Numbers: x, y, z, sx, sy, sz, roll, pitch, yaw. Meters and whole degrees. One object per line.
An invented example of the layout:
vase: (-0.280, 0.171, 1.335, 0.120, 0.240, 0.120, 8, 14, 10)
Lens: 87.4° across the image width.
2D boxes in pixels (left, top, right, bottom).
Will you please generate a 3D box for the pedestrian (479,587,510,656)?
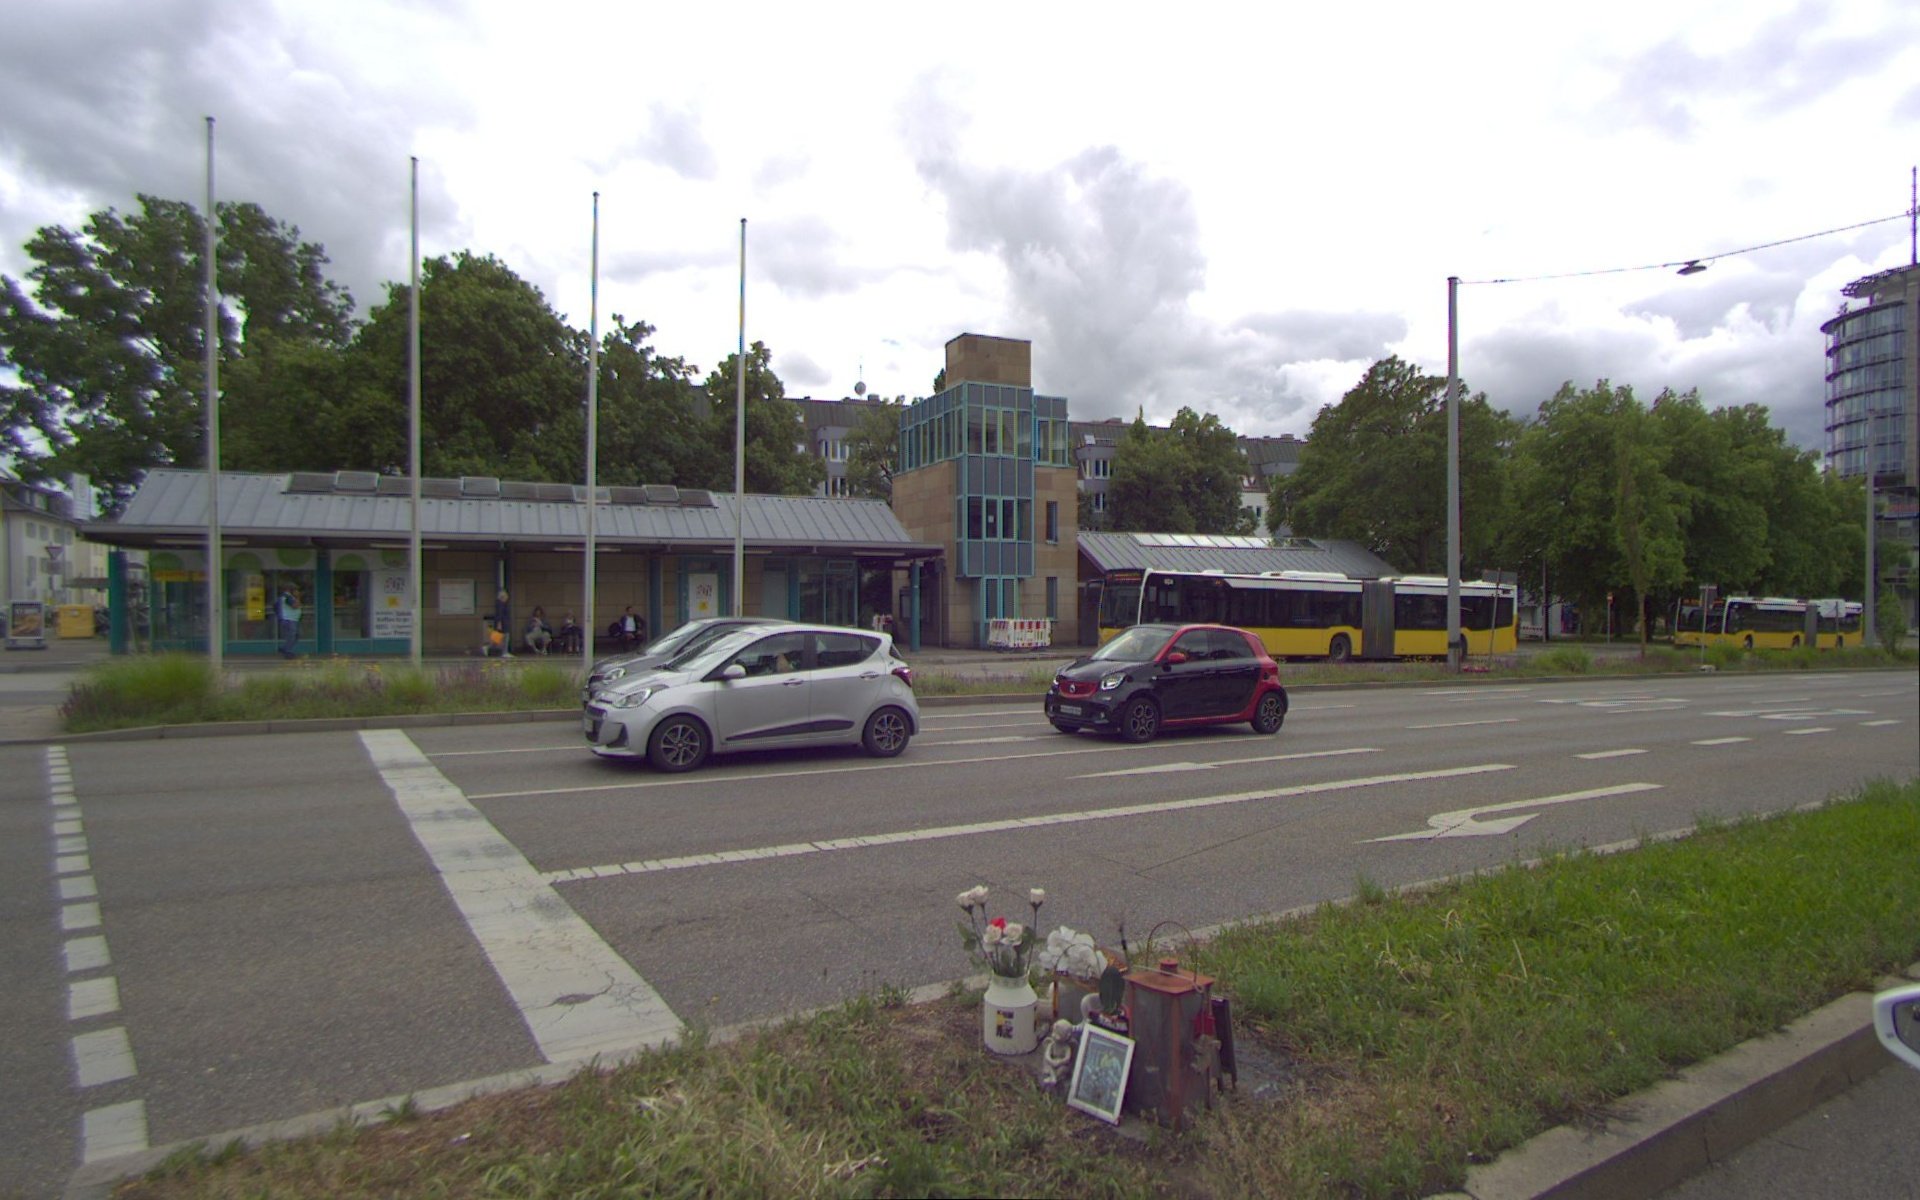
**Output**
pedestrian: (-11.532, 0.538, 24.889, 0.650, 1.671, 0.617, 1, -1, -28)

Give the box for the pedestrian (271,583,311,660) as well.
pedestrian: (-14.762, 0.482, 22.180, 0.650, 1.671, 0.617, 1, -1, -28)

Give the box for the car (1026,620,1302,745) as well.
car: (2.908, 1.074, 14.120, 3.728, 1.528, 1.649, 2, -1, -33)

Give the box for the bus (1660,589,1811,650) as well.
bus: (44.380, 1.132, 57.342, 10.612, 3.205, 3.068, 1, 1, -31)

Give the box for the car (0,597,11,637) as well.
car: (-42.655, 0.756, 43.249, 1.980, 1.706, 3.960, 1, 1, -35)

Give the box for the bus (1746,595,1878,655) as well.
bus: (53.137, 1.524, 62.554, 9.792, 3.502, 3.017, 1, 1, -30)

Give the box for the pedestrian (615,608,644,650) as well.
pedestrian: (-8.947, 0.782, 27.198, 0.650, 1.136, 0.617, 1, -1, -28)

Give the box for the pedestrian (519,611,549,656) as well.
pedestrian: (-11.087, 0.869, 26.159, 0.650, 1.136, 0.617, 1, -1, -28)

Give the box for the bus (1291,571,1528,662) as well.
bus: (17.118, 0.617, 38.078, 9.172, 3.174, 2.801, 1, 1, -25)

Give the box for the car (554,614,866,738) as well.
car: (-3.508, 1.001, 14.203, 3.951, 1.528, 1.807, 2, -1, -29)

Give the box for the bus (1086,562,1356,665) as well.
bus: (8.977, 0.445, 34.136, 9.313, 3.174, 2.766, 1, 1, -26)

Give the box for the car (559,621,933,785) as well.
car: (-2.337, 1.009, 11.207, 3.748, 1.485, 1.735, 0, 0, -32)

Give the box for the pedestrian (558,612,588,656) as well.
pedestrian: (-10.215, 0.884, 26.504, 0.650, 1.136, 0.617, 1, -1, -28)
